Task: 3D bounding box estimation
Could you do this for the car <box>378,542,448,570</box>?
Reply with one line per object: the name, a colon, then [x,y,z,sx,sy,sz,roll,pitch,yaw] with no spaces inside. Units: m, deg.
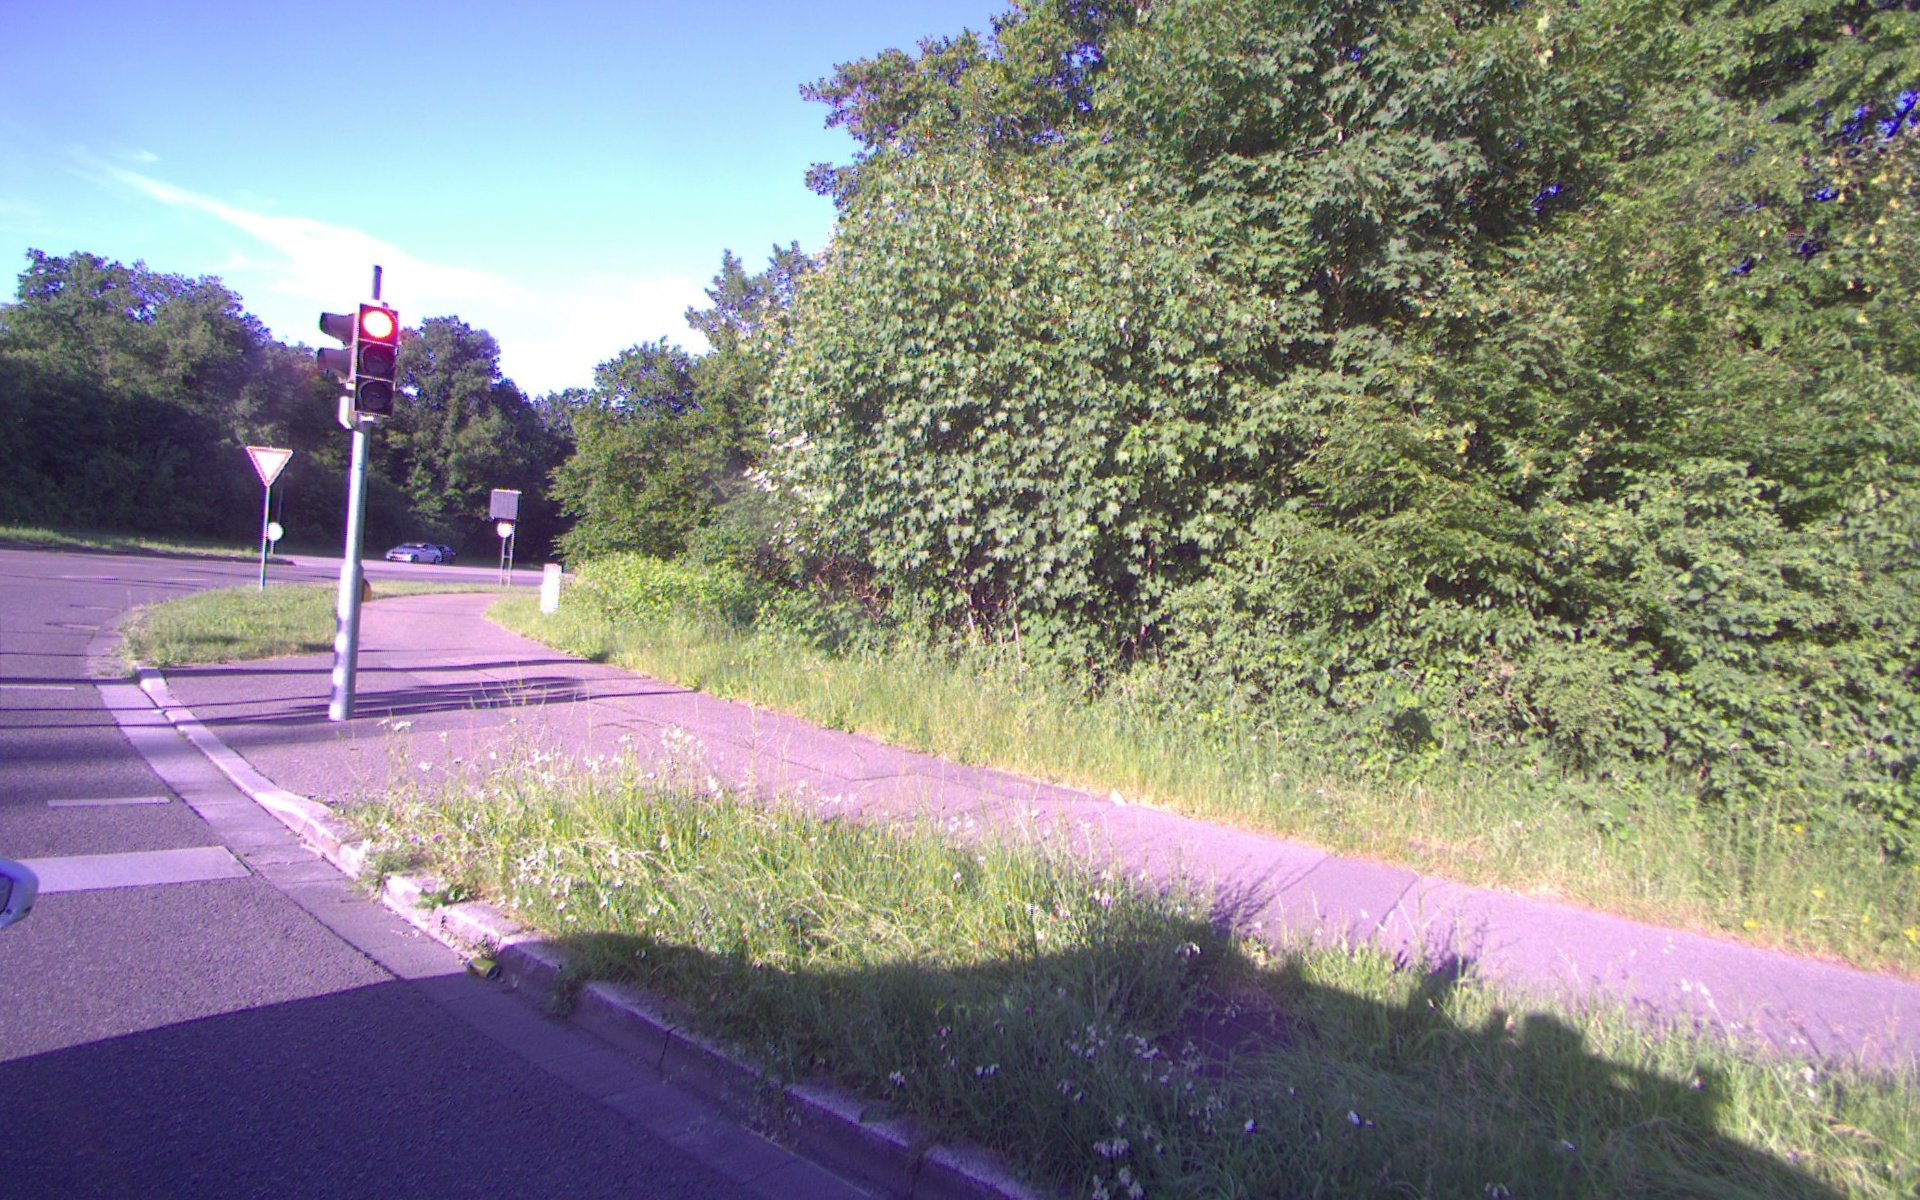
car: [-36.634,-2.942,67.500,1.963,1.454,4.806,6,0,0]
